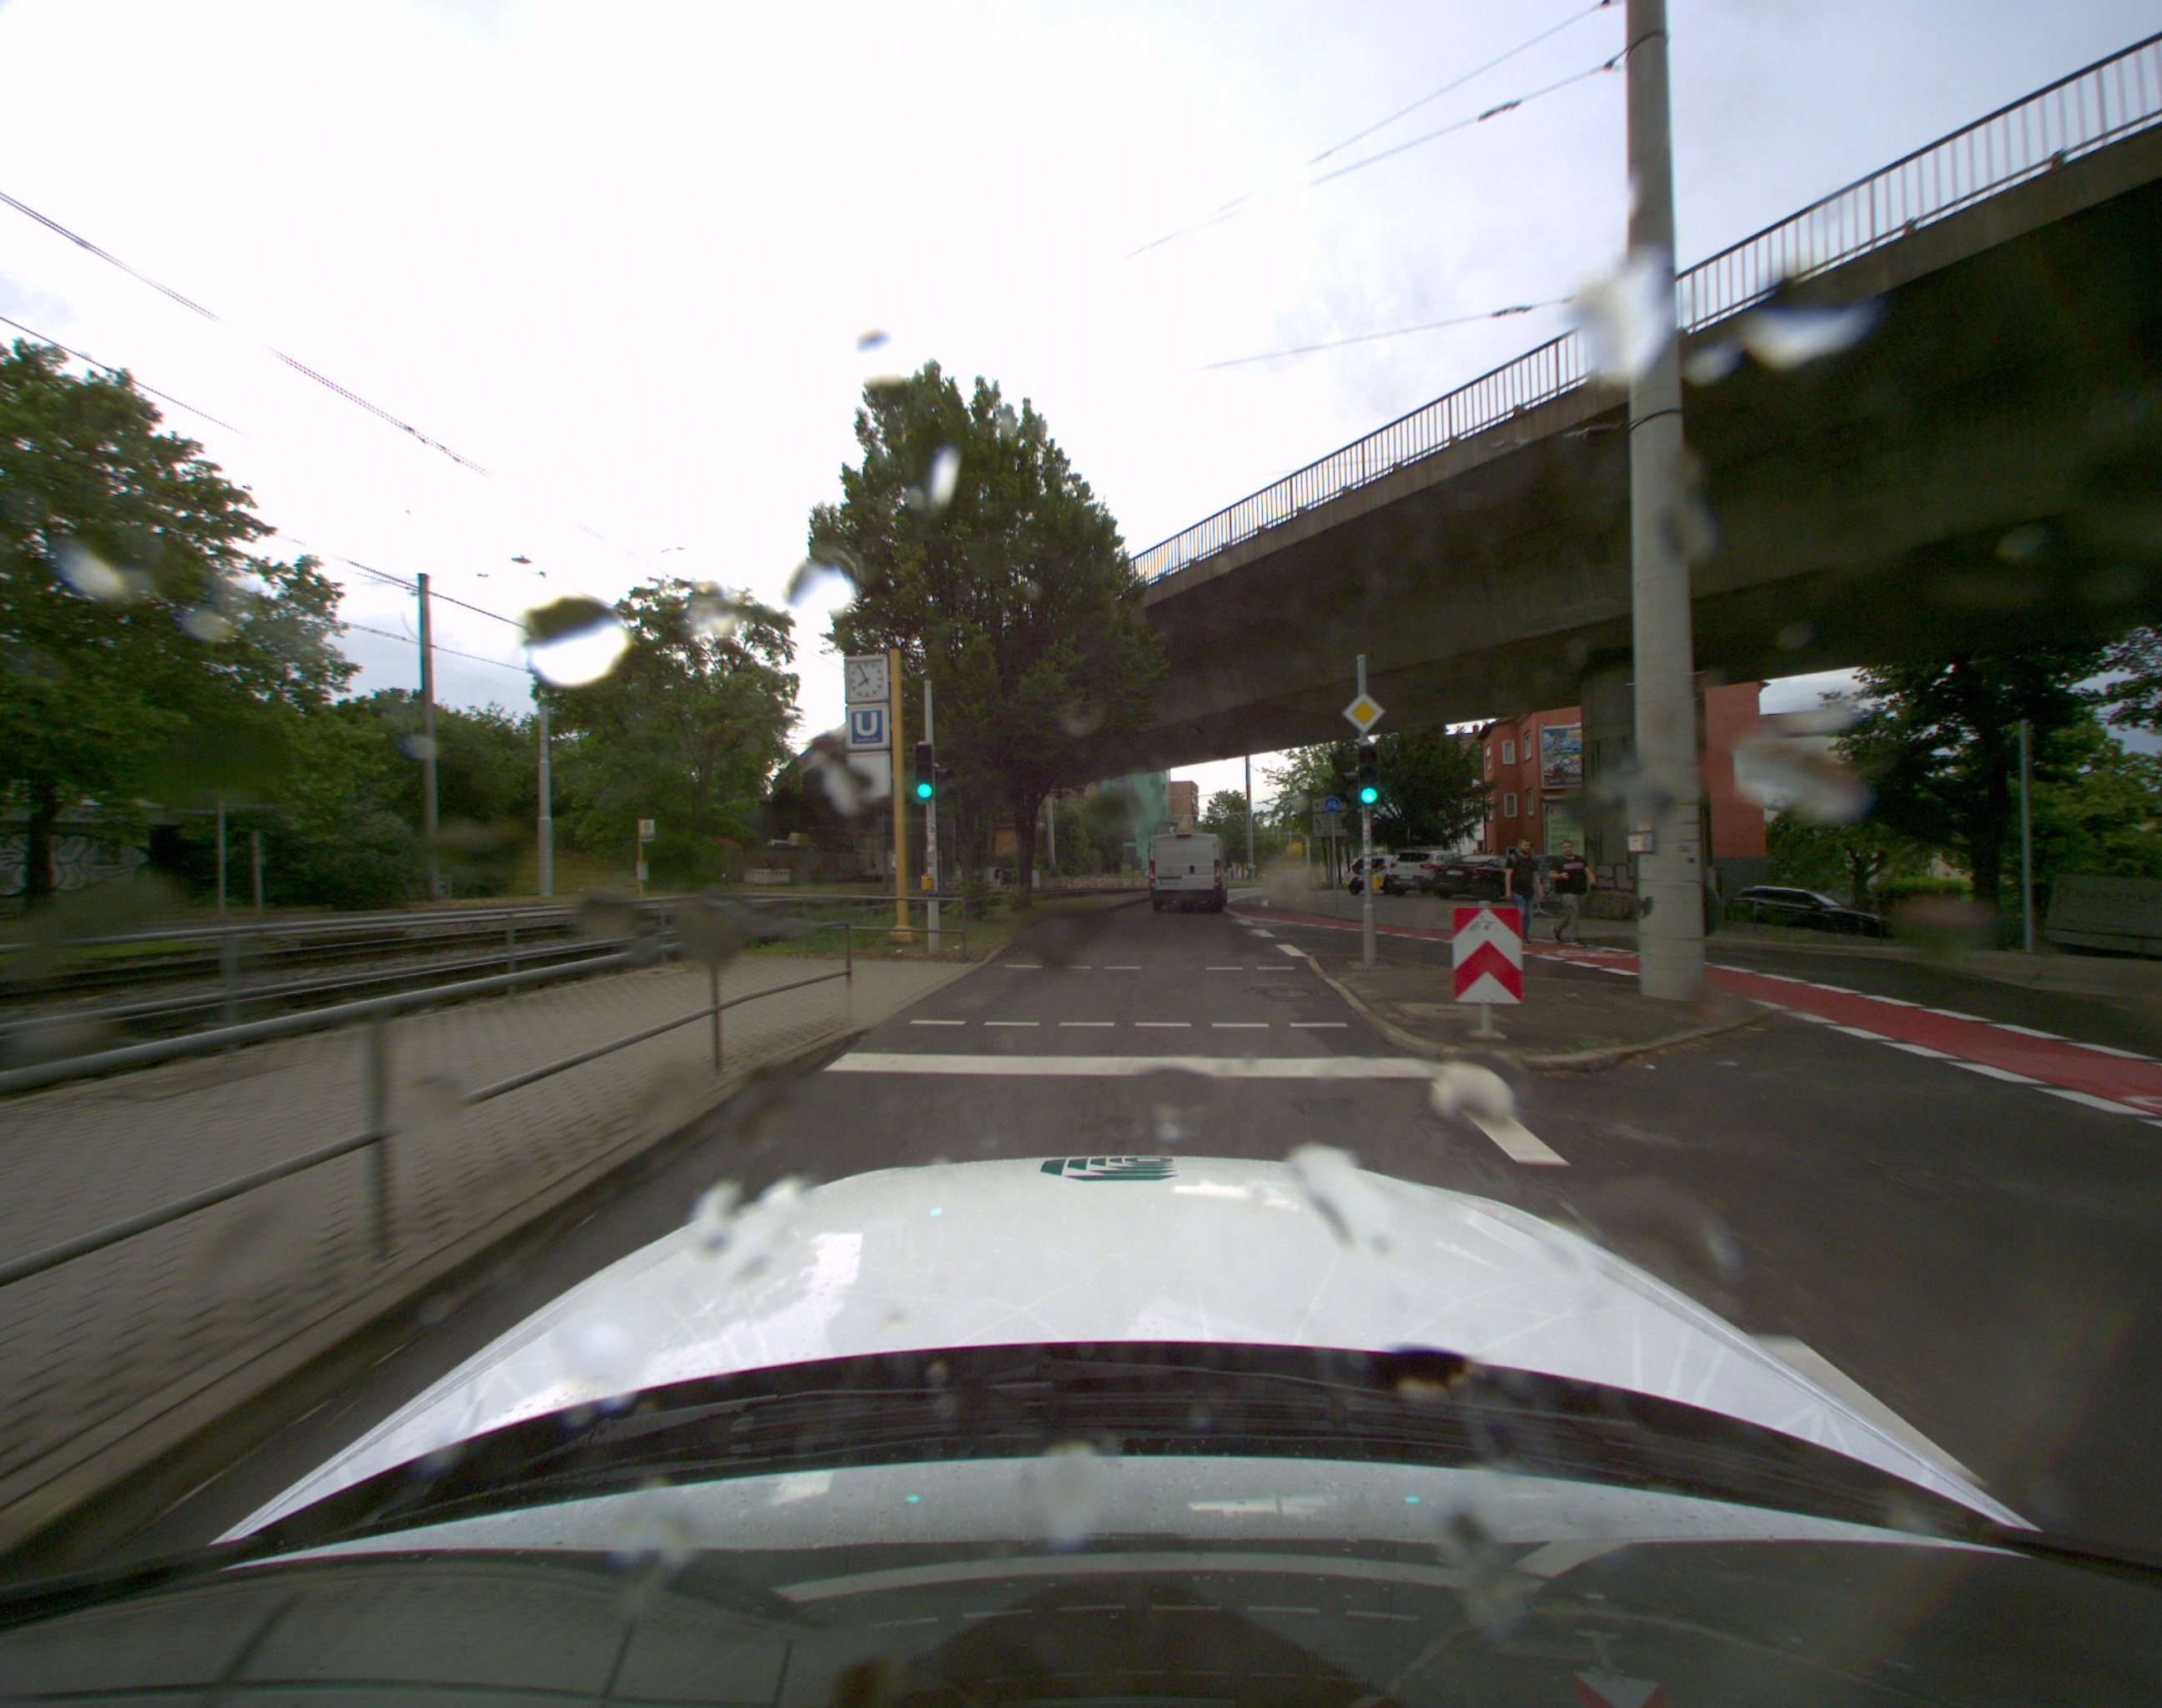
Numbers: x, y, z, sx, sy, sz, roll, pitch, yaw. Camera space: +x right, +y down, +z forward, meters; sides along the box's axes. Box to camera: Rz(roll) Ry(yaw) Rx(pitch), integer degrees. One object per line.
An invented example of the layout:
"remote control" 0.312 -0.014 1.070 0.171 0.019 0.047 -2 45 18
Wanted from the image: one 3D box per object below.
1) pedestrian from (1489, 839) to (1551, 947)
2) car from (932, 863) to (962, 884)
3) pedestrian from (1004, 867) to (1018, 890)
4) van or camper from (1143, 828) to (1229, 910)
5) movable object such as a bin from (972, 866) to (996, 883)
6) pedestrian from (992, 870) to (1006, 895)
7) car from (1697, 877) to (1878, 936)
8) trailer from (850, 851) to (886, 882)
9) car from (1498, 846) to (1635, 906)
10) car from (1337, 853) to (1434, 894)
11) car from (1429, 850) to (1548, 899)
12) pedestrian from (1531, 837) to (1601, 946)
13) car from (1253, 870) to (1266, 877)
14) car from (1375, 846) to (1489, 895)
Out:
"pedestrian" 7.591 0.663 14.111 0.623 1.808 0.835 1 -2 0
"car" -12.025 1.734 73.055 1.723 1.667 3.170 2 0 -27
"pedestrian" -5.193 1.812 60.672 0.687 1.670 0.893 -1 -1 27
"van or camper" 3.310 0.470 24.858 2.184 2.253 4.699 1 -1 12
"movable object such as a bin" -8.684 1.816 73.003 1.566 1.479 1.785 1 0 -30
"pedestrian" -6.124 2.147 61.031 0.687 1.831 0.871 -1 -1 25
"car" 22.711 1.648 26.388 3.954 1.596 2.010 2 0 20
"trailer" -19.168 1.161 73.099 2.007 2.725 4.081 1 -2 -33
"car" 13.981 0.652 23.411 4.016 1.572 1.885 2 -2 -34
"car" 11.775 0.728 31.435 3.753 1.522 1.782 0 -1 -37
"car" 12.954 0.612 25.823 4.068 1.439 1.767 0 -1 -37
"pedestrian" 8.422 0.643 14.165 0.597 1.822 0.906 1 -2 -10
"car" 38.112 4.269 173.796 1.976 1.442 4.021 0 -2 22
"car" 12.510 0.557 28.947 4.042 1.631 1.945 0 -1 -37
